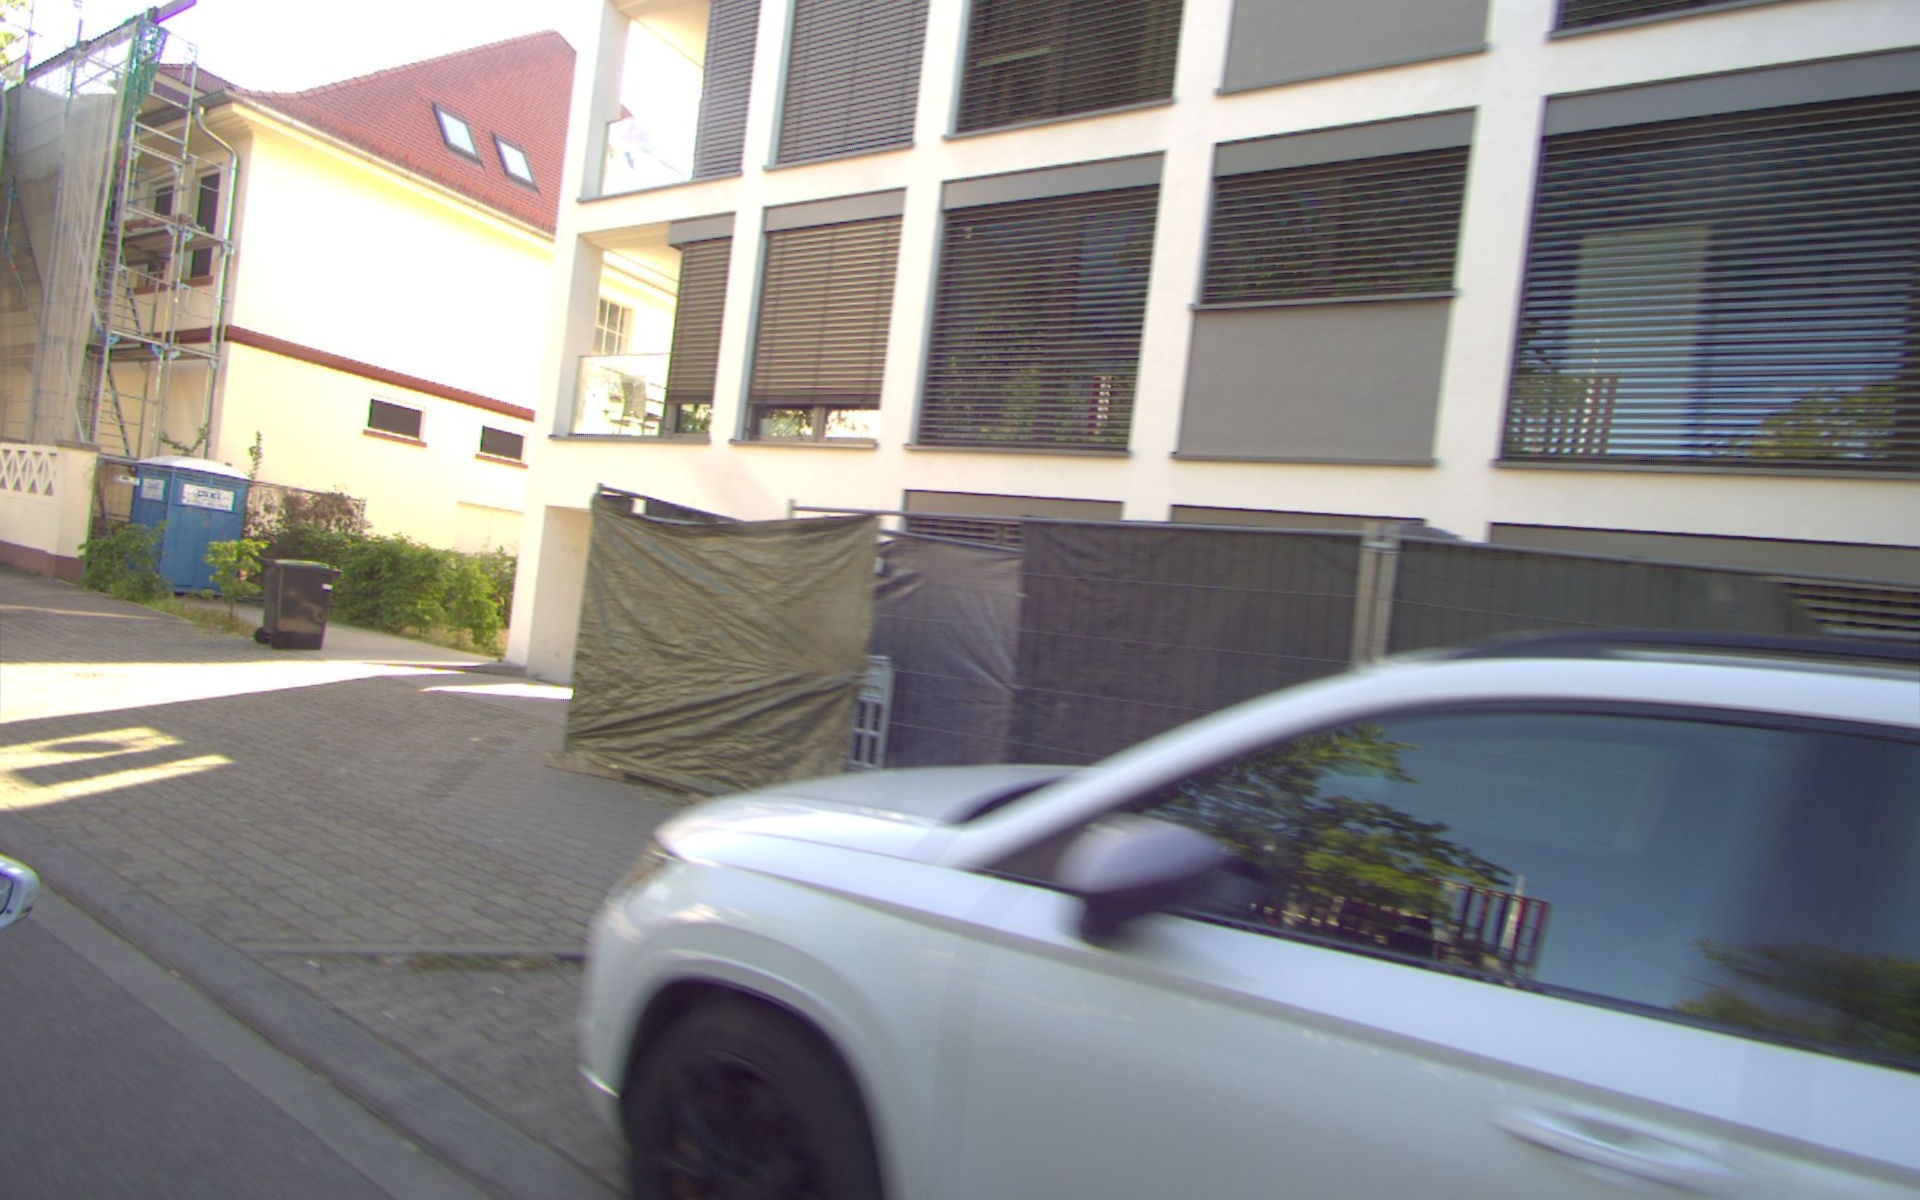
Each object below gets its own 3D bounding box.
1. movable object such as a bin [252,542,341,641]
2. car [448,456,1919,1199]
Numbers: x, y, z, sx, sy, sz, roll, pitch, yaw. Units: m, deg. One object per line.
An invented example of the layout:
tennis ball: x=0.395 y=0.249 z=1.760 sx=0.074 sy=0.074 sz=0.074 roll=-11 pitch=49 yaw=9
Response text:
movable object such as a bin: x=-7.702 y=-0.092 z=11.678 sx=0.555 sy=1.039 sz=0.598 roll=8 pitch=-1 yaw=36
car: x=1.112 y=0.797 z=2.032 sx=4.057 sy=1.635 sz=1.796 roll=8 pitch=-1 yaw=31
